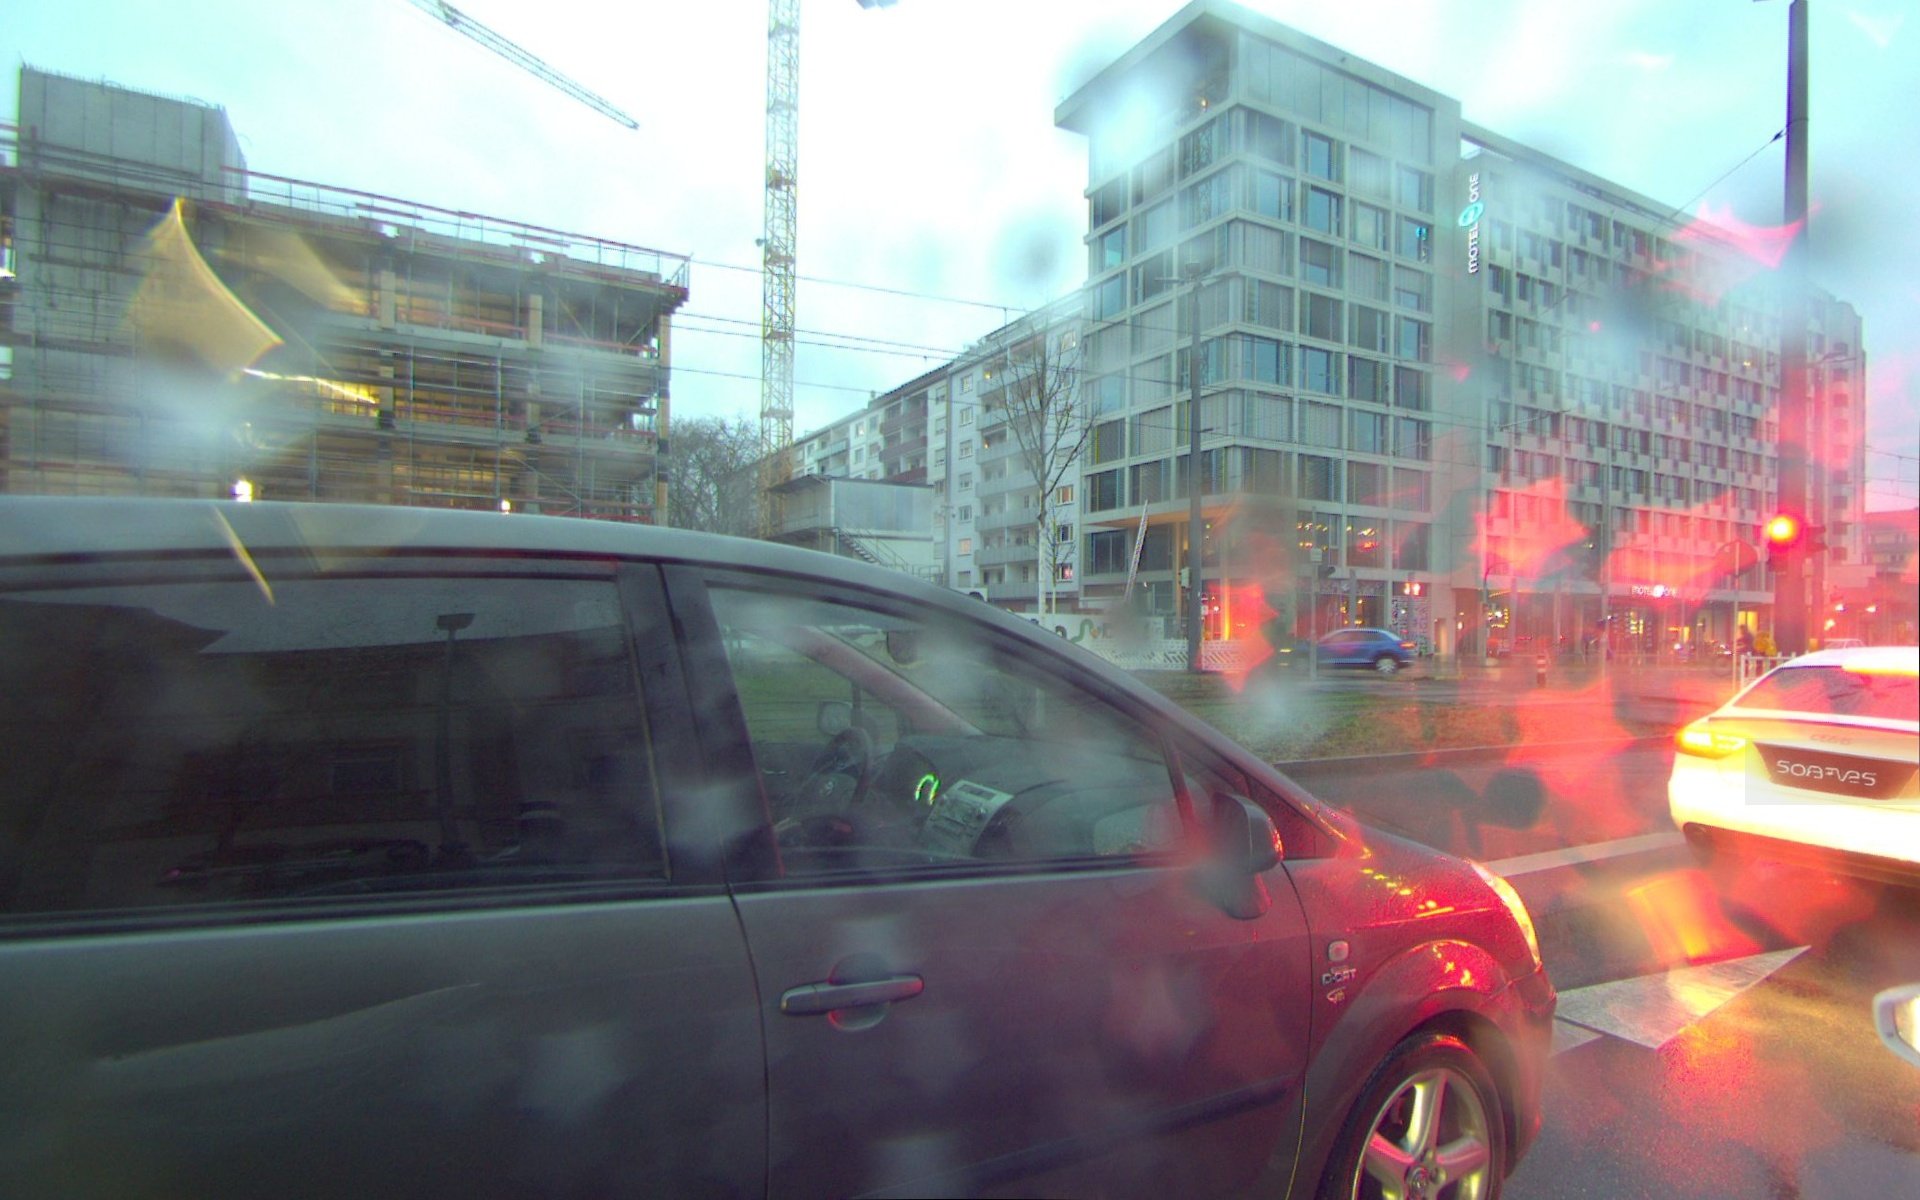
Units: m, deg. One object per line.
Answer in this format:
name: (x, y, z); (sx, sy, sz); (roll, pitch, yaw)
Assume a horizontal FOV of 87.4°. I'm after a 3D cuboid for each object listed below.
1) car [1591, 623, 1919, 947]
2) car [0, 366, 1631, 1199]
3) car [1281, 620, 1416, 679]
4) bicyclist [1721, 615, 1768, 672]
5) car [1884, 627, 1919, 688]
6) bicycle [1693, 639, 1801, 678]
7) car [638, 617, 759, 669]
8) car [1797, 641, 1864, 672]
car: (6.068, 0.921, 6.234); (4.320, 1.475, 1.983); (1, 0, -32)
car: (-0.558, 0.645, 2.140); (4.089, 1.668, 1.801); (1, 0, -32)
car: (12.635, 1.562, 32.707); (3.925, 1.644, 1.718); (2, 0, 26)
bicyclist: (25.827, 1.423, 33.063); (0.805, 1.782, 0.966); (2, 0, -35)
car: (24.959, 1.452, 23.851); (1.817, 1.460, 4.077); (2, -1, -28)
bicycle: (25.825, 1.905, 33.030); (0.807, 1.103, 2.649); (2, 0, -35)
car: (-8.489, 1.398, 32.558); (3.642, 1.497, 1.622); (2, 0, -18)
car: (47.407, 3.072, 54.677); (3.654, 1.527, 1.666); (3, 0, -31)
